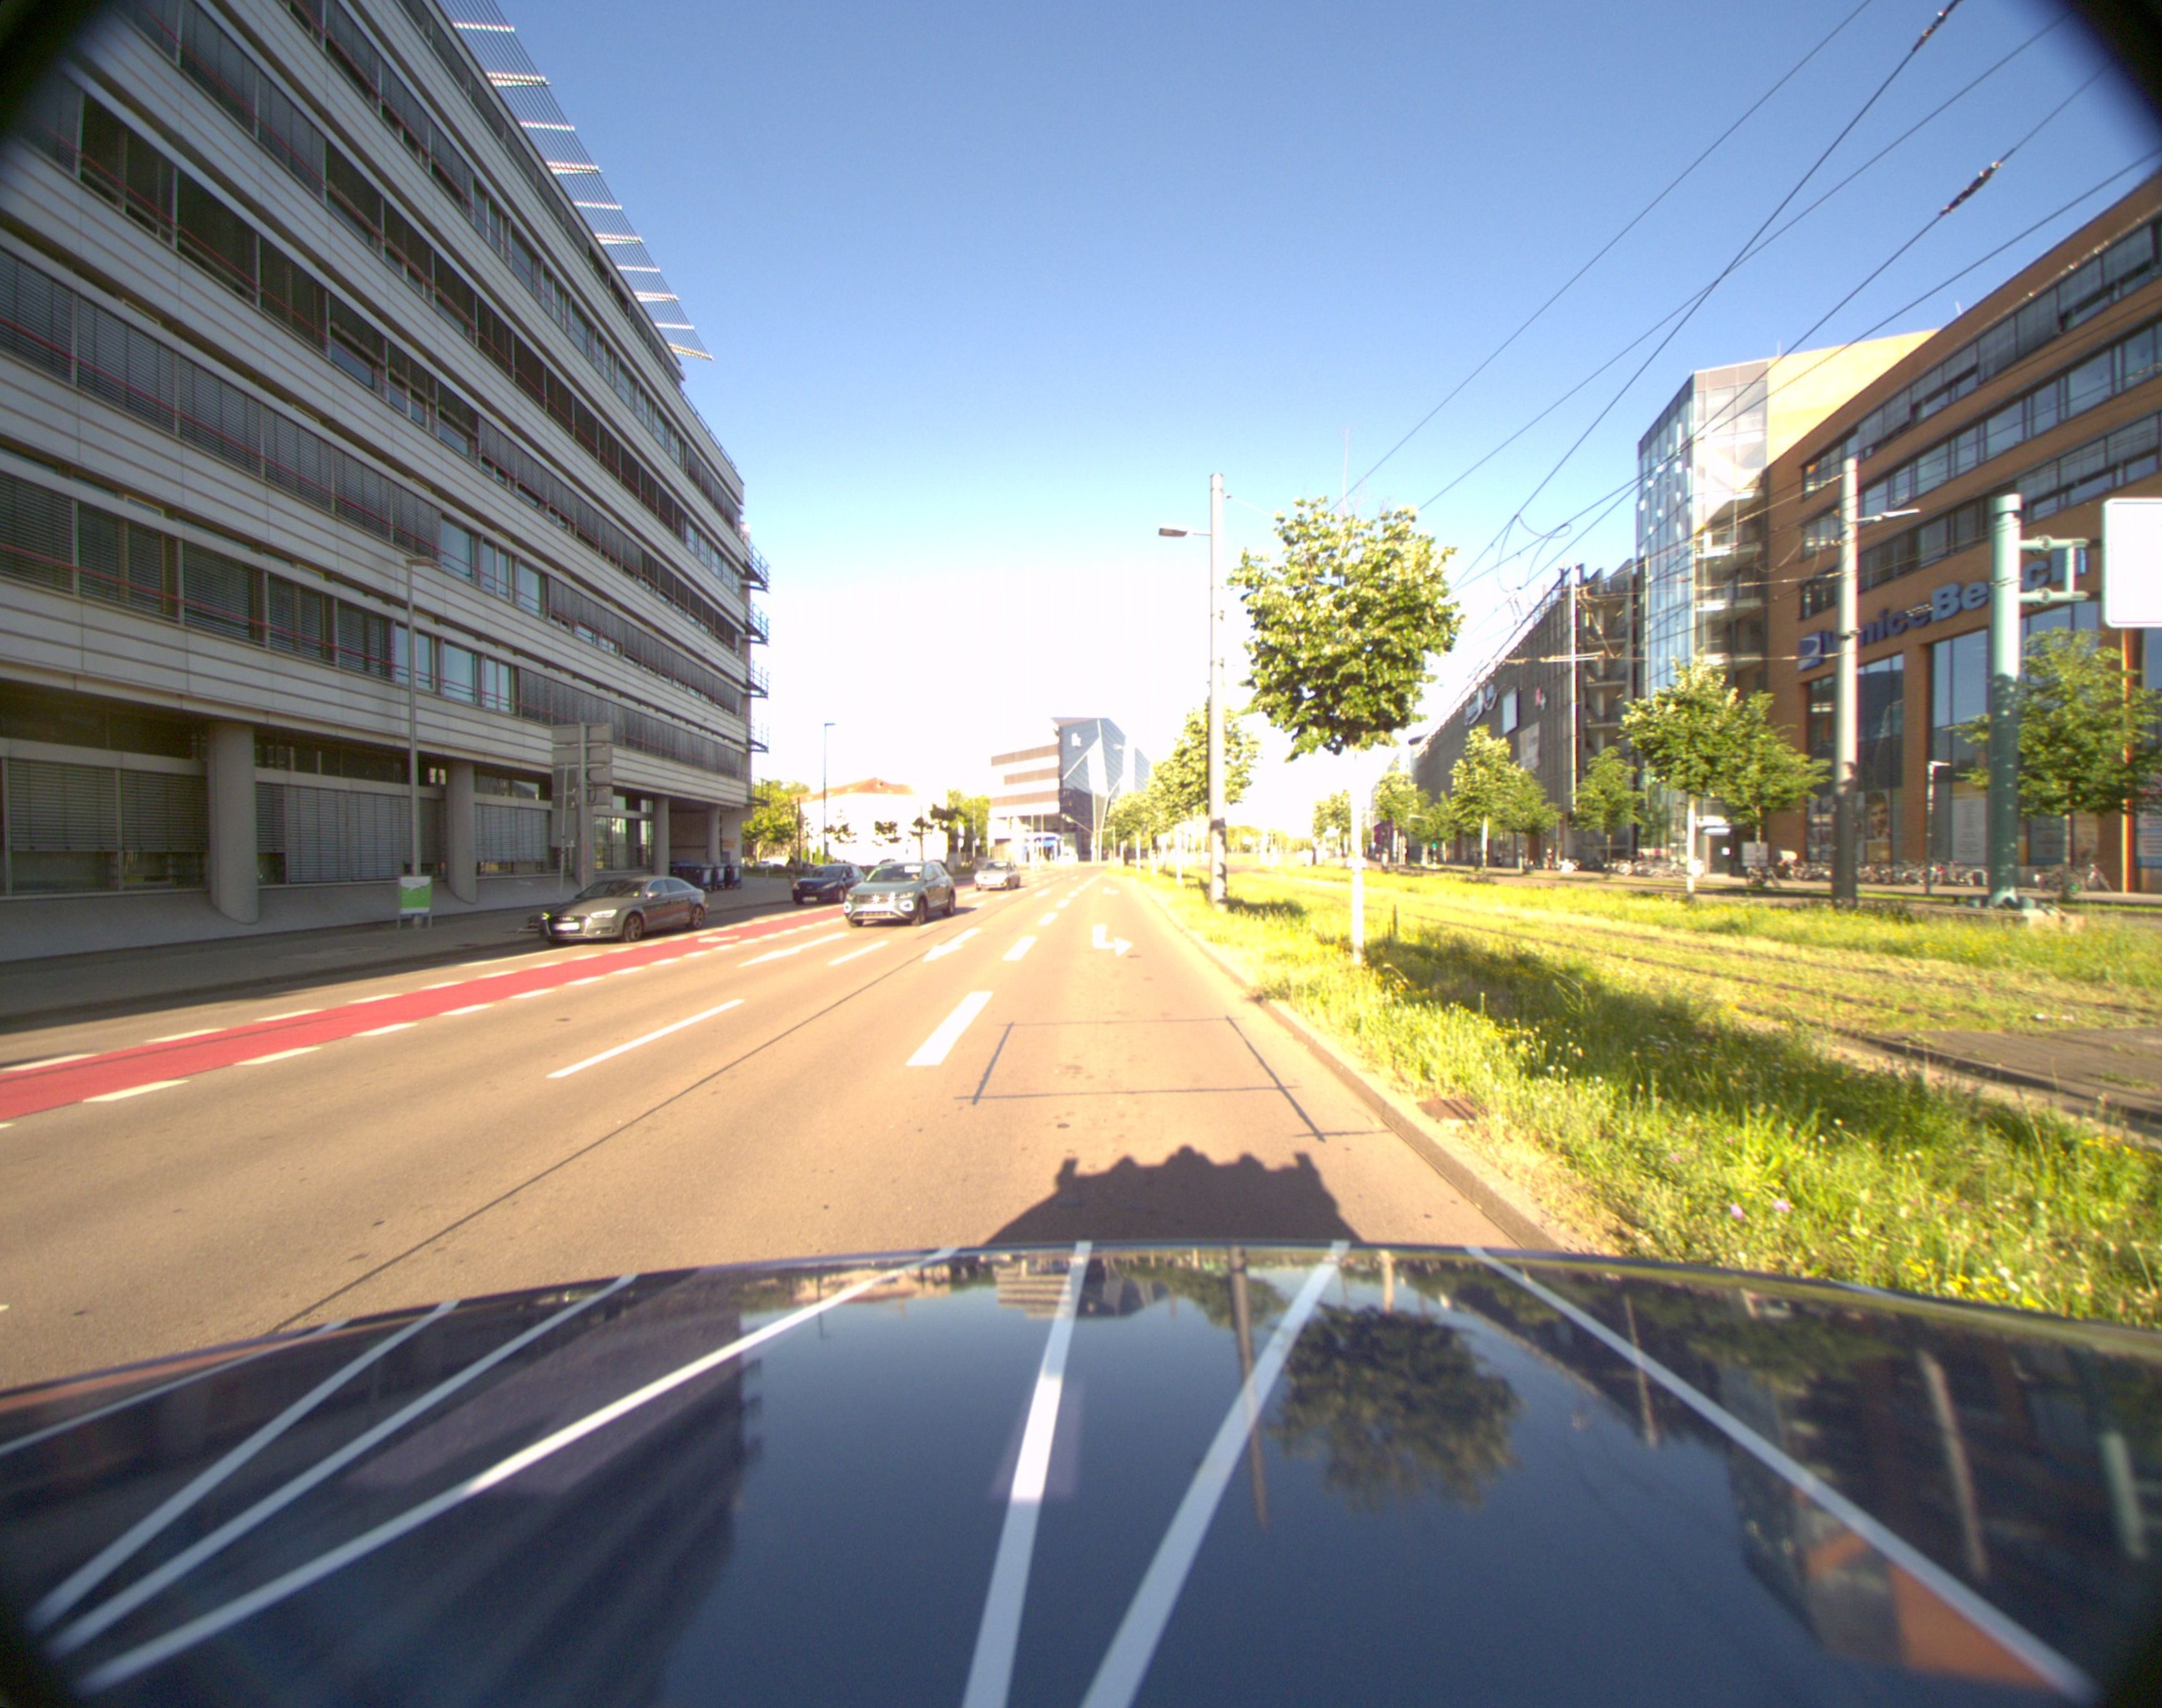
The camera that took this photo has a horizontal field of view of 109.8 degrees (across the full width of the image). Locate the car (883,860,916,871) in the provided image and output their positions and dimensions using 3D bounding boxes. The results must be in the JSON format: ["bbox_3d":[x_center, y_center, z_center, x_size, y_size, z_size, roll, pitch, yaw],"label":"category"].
[{"bbox_3d":[-24.939,1.551,104.554,3.991,1.414,2.003,-1,1,20],"label":"car"}]

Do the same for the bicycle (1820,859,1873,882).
[{"bbox_3d":[35.228,0.768,34.968,1.769,1.043,0.491,-1,1,8],"label":"bicycle"}]

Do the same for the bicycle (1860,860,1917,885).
[{"bbox_3d":[35.003,0.793,32.965,1.769,1.043,0.491,-1,1,8],"label":"bicycle"}]

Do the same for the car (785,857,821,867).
[{"bbox_3d":[-39.921,1.165,109.188,4.516,1.414,2.002,-1,1,17],"label":"car"}]

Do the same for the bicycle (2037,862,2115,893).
[{"bbox_3d":[34.087,0.798,26.047,1.769,1.043,0.491,-1,1,8],"label":"bicycle"}]

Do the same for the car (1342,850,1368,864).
[{"bbox_3d":[25.865,0.270,71.748,1.808,1.320,4.409,0,1,13],"label":"car"}]

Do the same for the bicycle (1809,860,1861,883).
[{"bbox_3d":[35.372,0.822,35.661,1.769,1.043,0.491,-1,1,8],"label":"bicycle"}]

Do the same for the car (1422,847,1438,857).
[{"bbox_3d":[54.260,-0.357,118.126,1.582,1.521,3.754,-2,1,13],"label":"car"}]

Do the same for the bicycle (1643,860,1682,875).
[{"bbox_3d":[35.134,0.825,45.901,1.768,0.921,0.565,-1,1,17],"label":"bicycle"}]

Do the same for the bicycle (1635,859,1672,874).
[{"bbox_3d":[35.560,0.799,47.231,1.768,0.921,0.565,-1,1,17],"label":"bicycle"}]

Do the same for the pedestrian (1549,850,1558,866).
[{"bbox_3d":[38.397,0.360,61.691,0.448,1.282,0.630,0,1,13],"label":"pedestrian"}]

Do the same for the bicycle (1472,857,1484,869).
[{"bbox_3d":[31.587,0.675,60.490,0.386,0.918,1.773,0,1,13],"label":"bicycle"}]

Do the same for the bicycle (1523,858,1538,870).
[{"bbox_3d":[32.664,0.730,55.210,0.386,0.863,1.773,0,1,13],"label":"bicycle"}]

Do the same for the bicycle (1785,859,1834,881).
[{"bbox_3d":[35.606,0.801,37.157,1.769,1.043,0.491,-1,1,8],"label":"bicycle"}]

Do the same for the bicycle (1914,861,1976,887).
[{"bbox_3d":[35.158,0.805,30.918,1.769,1.043,0.491,-1,1,8],"label":"bicycle"}]

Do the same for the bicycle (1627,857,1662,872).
[{"bbox_3d":[36.009,0.684,48.568,1.768,0.921,0.491,-1,1,17],"label":"bicycle"}]

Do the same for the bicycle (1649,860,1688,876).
[{"bbox_3d":[34.903,0.840,45.158,1.768,0.921,0.565,-1,1,17],"label":"bicycle"}]

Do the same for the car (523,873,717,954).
[{"bbox_3d":[-10.245,1.251,17.295,1.714,1.432,4.111,-4,0,2],"label":"car"}]

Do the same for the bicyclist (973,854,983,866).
[{"bbox_3d":[-13.301,0.755,98.122,1.006,1.598,0.880,-1,1,14],"label":"bicyclist"}]

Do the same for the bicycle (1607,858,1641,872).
[{"bbox_3d":[36.521,0.732,51.155,1.768,0.921,0.565,-1,1,17],"label":"bicycle"}]

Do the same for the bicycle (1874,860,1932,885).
[{"bbox_3d":[34.938,0.801,32.299,1.769,1.043,0.491,-1,1,8],"label":"bicycle"}]

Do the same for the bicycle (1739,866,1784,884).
[{"bbox_3d":[37.412,1.153,41.777,1.768,0.921,0.565,-1,1,17],"label":"bicycle"}]

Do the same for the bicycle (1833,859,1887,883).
[{"bbox_3d":[35.103,0.778,34.261,1.769,1.043,0.491,-1,1,8],"label":"bicycle"}]

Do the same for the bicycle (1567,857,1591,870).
[{"bbox_3d":[37.605,0.704,57.391,1.398,0.921,0.462,-1,1,17],"label":"bicycle"}]

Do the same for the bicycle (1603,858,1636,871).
[{"bbox_3d":[36.701,0.720,51.826,1.768,0.921,0.491,-1,1,17],"label":"bicycle"}]

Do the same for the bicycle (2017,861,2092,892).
[{"bbox_3d":[34.121,0.791,26.653,1.769,1.043,0.491,-1,1,8],"label":"bicycle"}]

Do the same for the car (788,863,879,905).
[{"bbox_3d":[-9.569,1.127,29.686,1.734,1.437,4.003,-2,-1,8],"label":"car"}]

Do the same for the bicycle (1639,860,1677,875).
[{"bbox_3d":[35.354,0.812,46.557,1.768,0.921,0.565,-1,1,17],"label":"bicycle"}]

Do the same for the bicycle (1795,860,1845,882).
[{"bbox_3d":[35.584,0.807,36.592,1.769,1.043,0.491,-1,1,8],"label":"bicycle"}]

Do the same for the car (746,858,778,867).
[{"bbox_3d":[-46.957,1.308,111.768,3.990,1.237,2.003,-1,1,22],"label":"car"}]

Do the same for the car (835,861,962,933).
[{"bbox_3d":[-4.463,1.001,19.192,1.748,1.496,3.882,-3,0,8],"label":"car"}]

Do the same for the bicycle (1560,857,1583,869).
[{"bbox_3d":[37.959,0.679,58.837,1.398,0.921,0.462,-1,1,17],"label":"bicycle"}]

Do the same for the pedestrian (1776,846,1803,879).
[{"bbox_3d":[36.341,0.431,38.981,0.746,1.659,0.676,-1,1,7],"label":"pedestrian"}]

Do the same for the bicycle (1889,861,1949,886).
[{"bbox_3d":[34.813,0.811,31.583,1.769,1.043,0.491,-1,1,8],"label":"bicycle"}]

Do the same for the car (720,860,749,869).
[{"bbox_3d":[-52.456,1.593,115.105,3.990,1.368,1.938,-1,1,27],"label":"car"}]

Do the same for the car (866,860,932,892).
[{"bbox_3d":[-8.801,1.067,37.063,1.437,1.437,4.006,1,-1,13],"label":"car"}]

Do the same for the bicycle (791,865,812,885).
[{"bbox_3d":[-15.826,1.184,43.073,0.505,1.052,1.702,2,1,2],"label":"bicycle"}]

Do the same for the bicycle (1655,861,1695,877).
[{"bbox_3d":[34.694,0.853,44.409,1.768,0.921,0.565,-1,1,17],"label":"bicycle"}]

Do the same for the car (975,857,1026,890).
[{"bbox_3d":[-3.878,0.941,37.180,1.619,1.421,3.769,-2,1,7],"label":"car"}]

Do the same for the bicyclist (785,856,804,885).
[{"bbox_3d":[-16.214,0.908,43.009,0.685,1.609,0.991,-1,1,2],"label":"bicyclist"}]

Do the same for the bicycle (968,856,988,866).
[{"bbox_3d":[-13.287,0.913,98.106,2.368,1.304,0.952,-1,1,13],"label":"bicycle"}]

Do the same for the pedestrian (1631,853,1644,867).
[{"bbox_3d":[40.741,0.432,55.634,0.629,1.048,0.450,-1,1,13],"label":"pedestrian"}]

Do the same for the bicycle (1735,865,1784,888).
[{"bbox_3d":[28.003,0.923,31.404,0.464,0.863,1.771,-1,1,1],"label":"bicycle"}]

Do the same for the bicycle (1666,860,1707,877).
[{"bbox_3d":[34.553,0.822,43.377,1.768,0.921,0.565,-1,1,17],"label":"bicycle"}]
